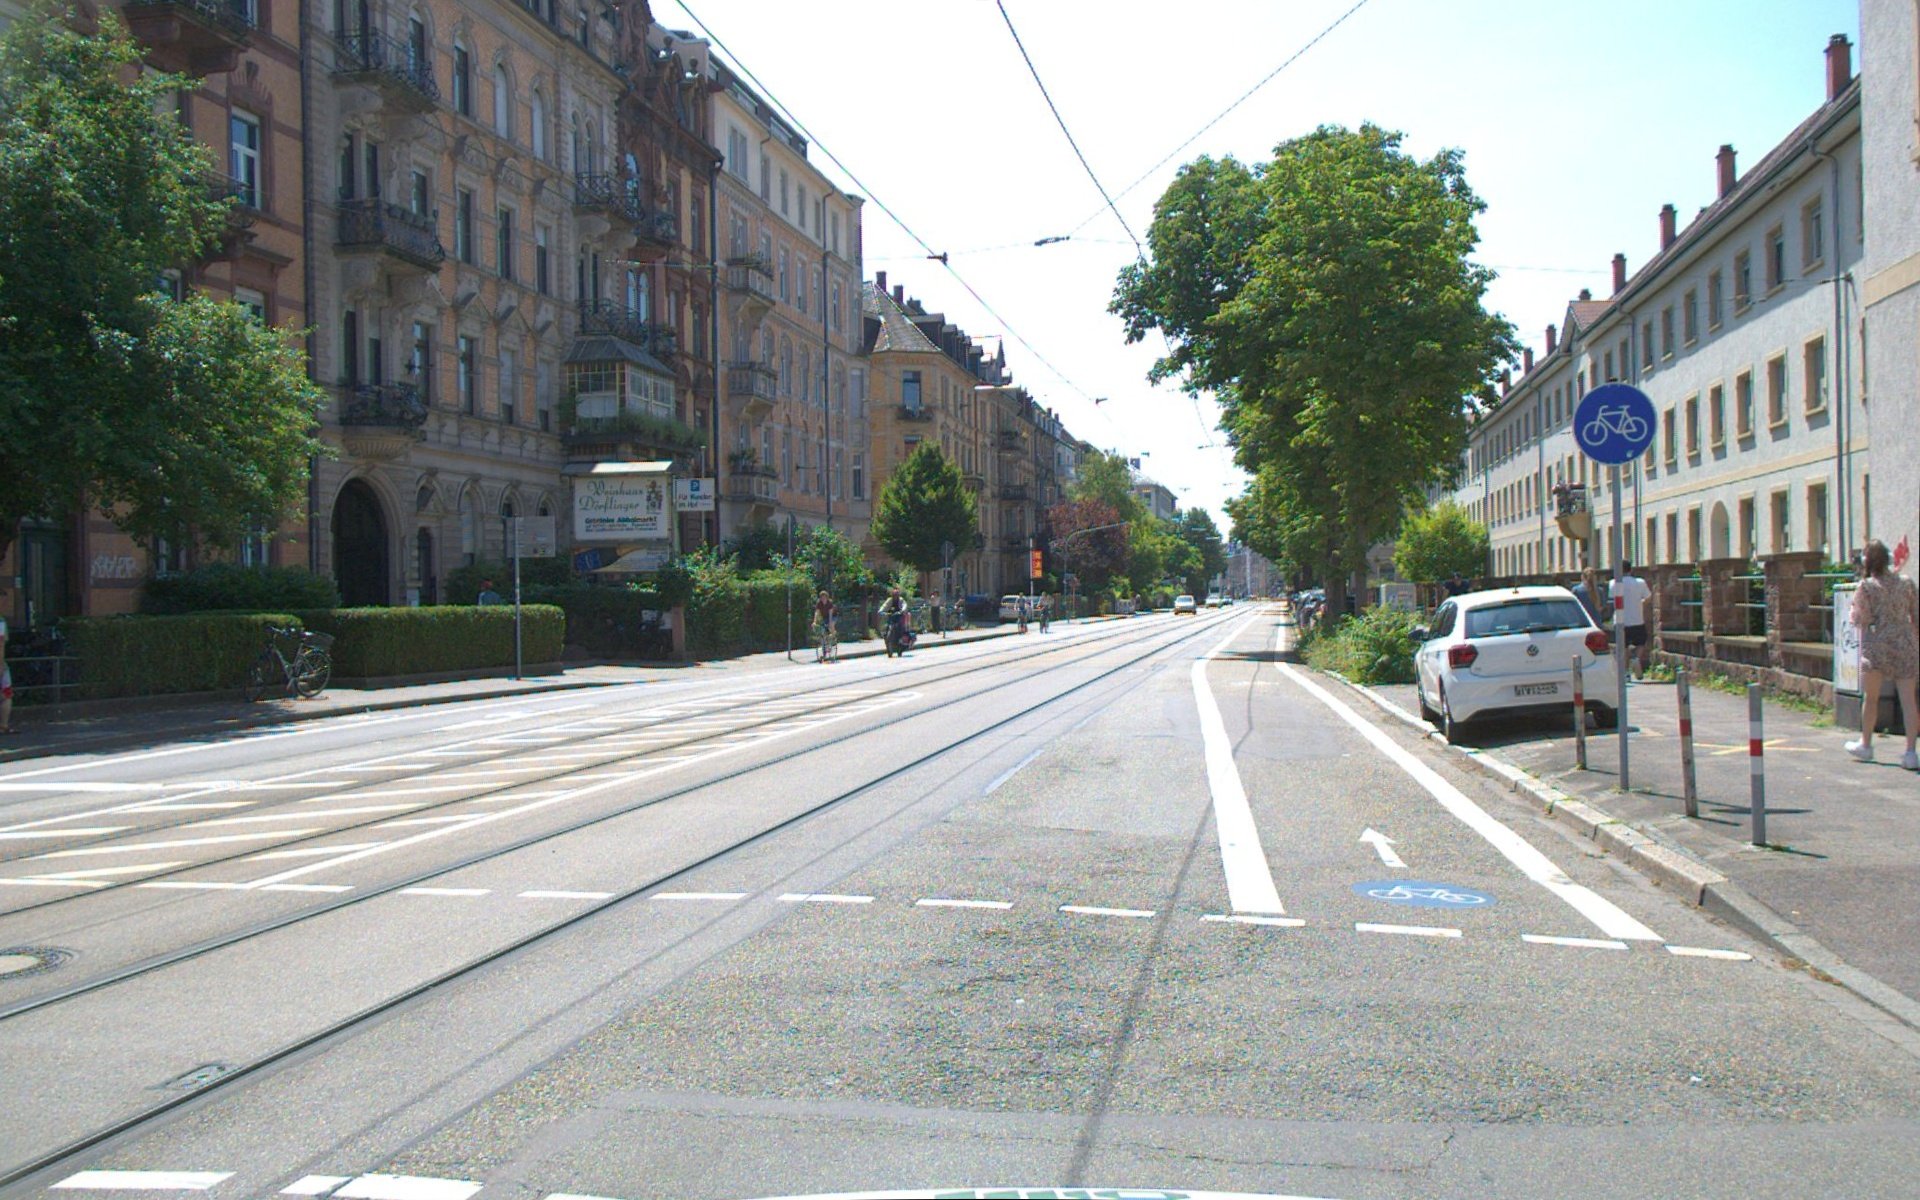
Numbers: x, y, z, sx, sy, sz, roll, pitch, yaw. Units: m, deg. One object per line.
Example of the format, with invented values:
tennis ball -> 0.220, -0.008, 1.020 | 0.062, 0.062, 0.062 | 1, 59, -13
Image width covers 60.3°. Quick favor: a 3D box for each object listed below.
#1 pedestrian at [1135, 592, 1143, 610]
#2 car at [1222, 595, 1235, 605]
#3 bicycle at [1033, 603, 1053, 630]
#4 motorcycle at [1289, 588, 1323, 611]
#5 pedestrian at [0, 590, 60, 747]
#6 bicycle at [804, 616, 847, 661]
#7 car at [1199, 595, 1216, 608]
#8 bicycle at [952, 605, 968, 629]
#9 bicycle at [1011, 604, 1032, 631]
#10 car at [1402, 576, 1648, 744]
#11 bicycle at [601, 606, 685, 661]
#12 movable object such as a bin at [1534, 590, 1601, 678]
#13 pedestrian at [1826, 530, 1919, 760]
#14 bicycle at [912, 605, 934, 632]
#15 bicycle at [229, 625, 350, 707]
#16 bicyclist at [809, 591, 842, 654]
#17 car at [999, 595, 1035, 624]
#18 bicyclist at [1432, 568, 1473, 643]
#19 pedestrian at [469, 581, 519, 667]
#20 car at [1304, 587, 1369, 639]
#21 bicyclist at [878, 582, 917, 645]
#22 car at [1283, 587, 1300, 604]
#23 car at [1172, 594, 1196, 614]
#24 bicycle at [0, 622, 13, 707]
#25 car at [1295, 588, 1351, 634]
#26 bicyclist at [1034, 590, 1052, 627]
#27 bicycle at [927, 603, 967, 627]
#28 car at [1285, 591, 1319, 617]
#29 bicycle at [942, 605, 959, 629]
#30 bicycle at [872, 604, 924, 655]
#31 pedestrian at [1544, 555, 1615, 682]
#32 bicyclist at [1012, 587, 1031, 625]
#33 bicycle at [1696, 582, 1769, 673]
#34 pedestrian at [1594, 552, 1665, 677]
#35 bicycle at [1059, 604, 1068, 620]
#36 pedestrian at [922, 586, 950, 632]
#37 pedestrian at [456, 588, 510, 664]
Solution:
pedestrian -> 16.553, 0.115, 152.728 | 0.735, 1.657, 0.834 | 0, 0, 7
car -> 38.961, 0.015, 239.790 | 1.650, 1.480, 3.751 | -1, 0, 11
bicycle -> 3.607, 0.718, 71.595 | 0.569, 1.097, 1.892 | -2, 0, 11
motorcycle -> 23.941, -0.002, 114.399 | 0.860, 1.567, 2.291 | -1, 0, -35
pedestrian -> -10.931, 0.757, 18.699 | 0.853, 1.730, 1.014 | -1, 0, 17
bicycle -> -3.310, 0.930, 40.885 | 0.555, 1.056, 1.830 | -1, 0, 12
car -> 28.532, 0.172, 190.674 | 1.718, 1.449, 4.003 | -2, 0, 11
bicycle -> 0.011, 0.724, 72.227 | 0.429, 1.000, 1.712 | -1, 0, 9
bicycle -> 2.663, 0.743, 71.538 | 0.615, 1.097, 1.877 | -2, 0, 11
car -> 5.859, 0.564, 17.635 | 1.740, 1.435, 4.160 | -5, -1, 10
bicycle -> -7.501, 0.786, 39.168 | 1.830, 1.249, 0.569 | 1, 0, 8
movable object such as a bin -> 8.858, 0.484, 24.158 | 0.682, 1.206, 1.037 | -4, -1, 10
pedestrian -> 7.104, 0.334, 12.587 | 0.682, 1.699, 0.757 | -1, 0, 10
bicycle -> -1.458, 0.732, 65.186 | 0.486, 1.004, 1.712 | 3, 1, 9
bicycle -> -9.888, 0.950, 24.479 | 0.624, 1.112, 1.933 | 1, 1, 14
bicyclist -> -3.323, 0.543, 40.853 | 0.550, 1.542, 0.892 | -1, 0, 12
car -> 3.391, 0.549, 98.135 | 1.826, 1.628, 4.105 | 0, 0, 6
bicyclist -> 9.973, 0.111, 33.513 | 0.696, 1.477, 1.011 | -1, 0, 13
pedestrian -> -10.459, 0.523, 37.085 | 0.808, 1.889, 0.867 | -1, 0, -37
car -> 11.624, 0.382, 51.263 | 1.621, 1.541, 4.003 | -1, 0, 8
bicyclist -> -1.671, 0.364, 44.247 | 0.790, 1.658, 0.981 | -1, 0, 12
car -> 41.762, -0.593, 208.332 | 1.950, 2.071, 4.701 | -1, 0, 11
car -> 17.919, 0.304, 132.089 | 1.648, 1.475, 4.004 | -1, 0, 11
bicycle -> -12.396, 0.792, 20.099 | 1.611, 1.013, 0.495 | -1, 0, 13
car -> 13.070, 0.369, 59.752 | 1.695, 1.579, 4.457 | -1, 0, 9
bicyclist -> 3.599, 0.363, 71.613 | 0.580, 1.571, 0.953 | -2, 0, 11
bicycle -> -0.567, 0.664, 73.731 | 1.669, 1.055, 0.551 | -1, 0, 16
car -> 20.601, 0.232, 99.834 | 1.731, 1.451, 4.866 | -1, 0, 9
bicycle -> -0.389, 0.710, 70.224 | 0.429, 1.000, 1.712 | -1, 0, 9
bicycle -> -1.654, 0.771, 44.271 | 0.790, 1.294, 2.553 | -1, 0, 12
pedestrian -> 8.682, 0.253, 23.212 | 0.682, 1.698, 0.870 | -4, -1, 10
bicyclist -> 2.648, 0.239, 71.562 | 0.620, 1.612, 1.029 | -2, 0, 11
bicycle -> 10.711, 0.361, 22.985 | 0.584, 1.196, 1.755 | -1, 0, 14
pedestrian -> 9.502, 0.204, 23.495 | 0.682, 1.698, 0.757 | -4, -1, 10
bicycle -> 6.668, 0.758, 106.726 | 0.444, 1.021, 1.808 | -1, 0, 8
pedestrian -> -0.943, 0.350, 65.619 | 0.833, 1.753, 1.139 | 2, 0, 11
pedestrian -> -11.042, 0.594, 38.308 | 0.893, 1.730, 0.820 | -1, 0, 38
